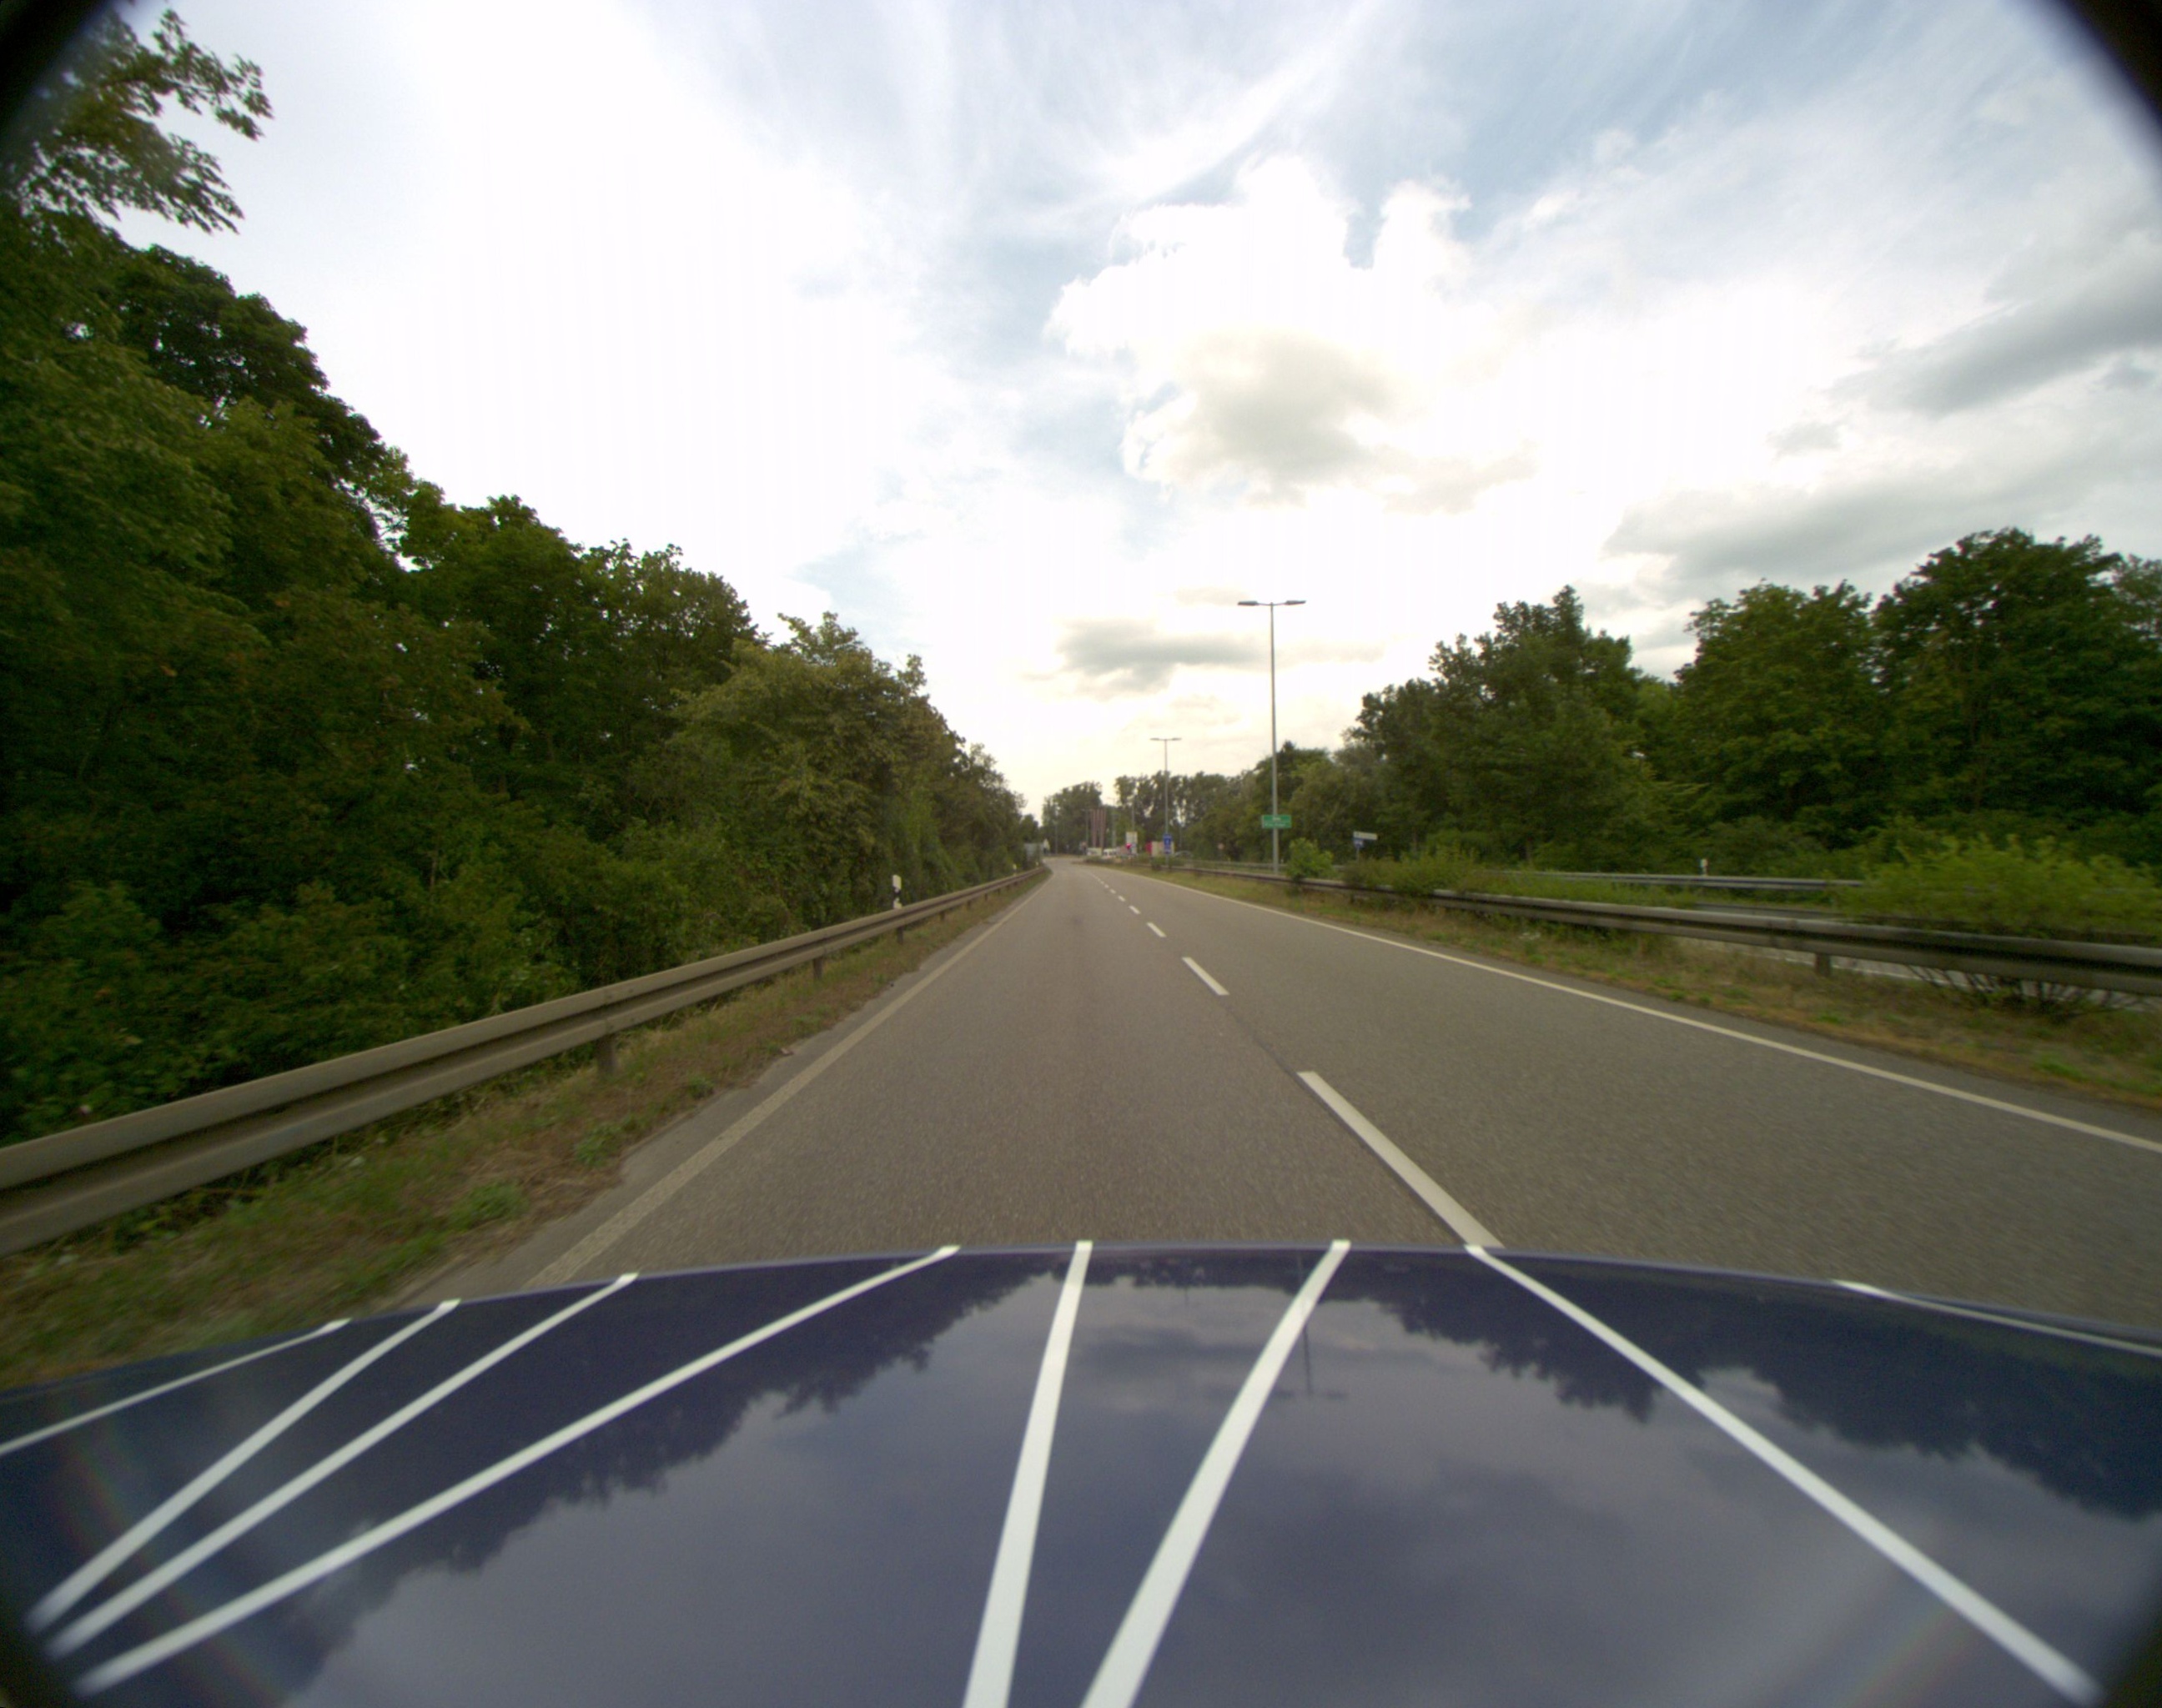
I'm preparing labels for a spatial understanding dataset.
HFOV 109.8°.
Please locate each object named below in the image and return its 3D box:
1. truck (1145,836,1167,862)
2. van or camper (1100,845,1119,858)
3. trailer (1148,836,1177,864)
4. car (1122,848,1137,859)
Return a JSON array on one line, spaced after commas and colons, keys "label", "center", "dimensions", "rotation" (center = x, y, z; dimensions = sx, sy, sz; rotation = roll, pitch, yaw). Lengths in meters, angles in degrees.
[{"label": "truck", "center": [12.013, -0.880, 122.555], "dimensions": [2.575, 4.060, 5.619], "rotation": [-1, 1, -4]}, {"label": "van or camper", "center": [5.535, -0.515, 148.067], "dimensions": [2.167, 2.574, 6.488], "rotation": [-1, 1, -11]}, {"label": "trailer", "center": [12.359, -0.712, 116.645], "dimensions": [2.542, 4.124, 10.765], "rotation": [-1, 1, -4]}, {"label": "car", "center": [8.478, -0.130, 132.678], "dimensions": [1.809, 1.719, 4.957], "rotation": [-1, 1, -6]}]
